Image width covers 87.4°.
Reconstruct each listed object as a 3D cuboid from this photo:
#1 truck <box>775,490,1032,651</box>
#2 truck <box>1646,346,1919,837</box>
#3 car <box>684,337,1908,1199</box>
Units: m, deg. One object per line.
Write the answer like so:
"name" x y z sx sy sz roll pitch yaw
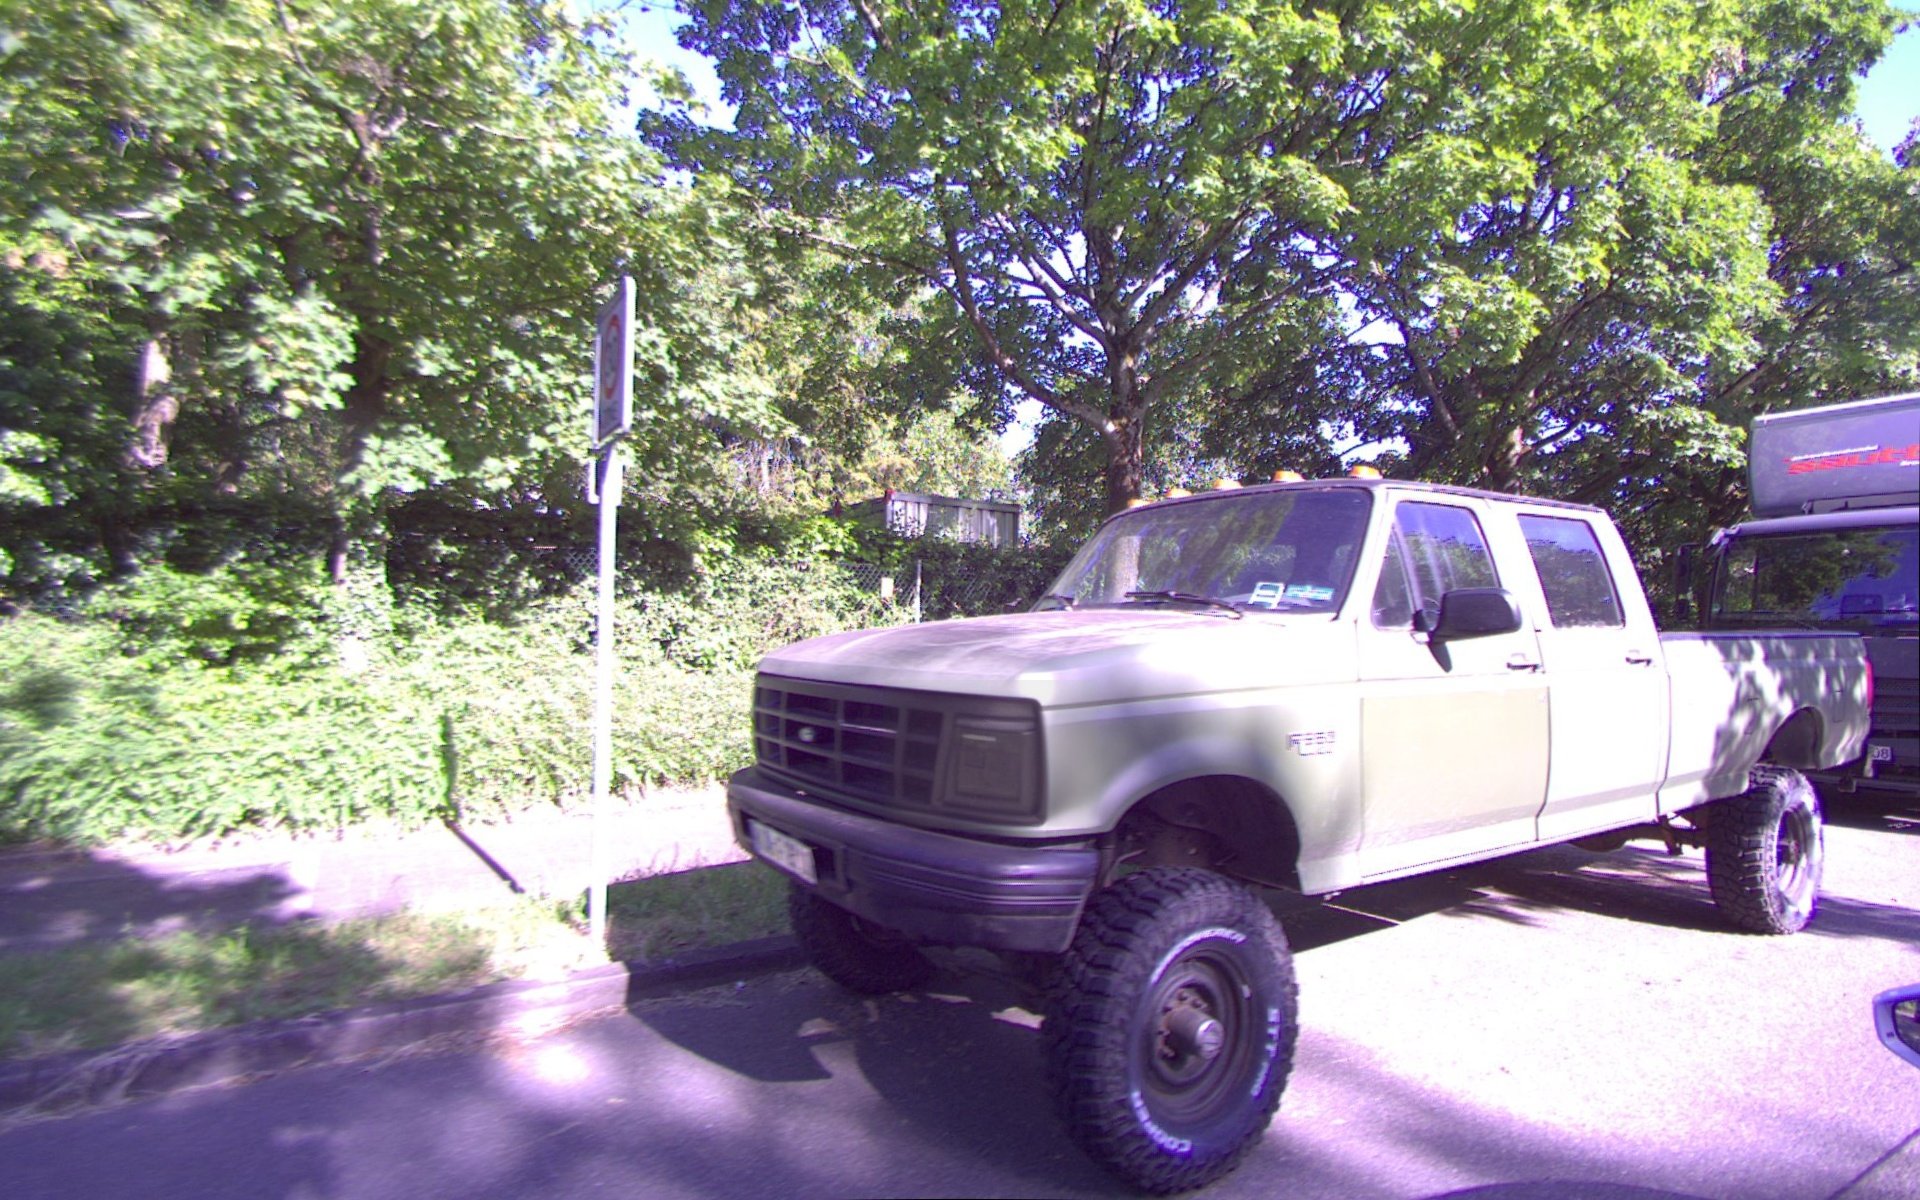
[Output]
"truck" -0.986 -0.265 15.058 2.181 2.040 3.964 1 -3 -33
"truck" 10.309 0.034 10.135 8.013 3.689 2.719 2 -2 -33
"car" 2.201 0.579 4.886 6.515 2.123 2.107 2 -2 -34
